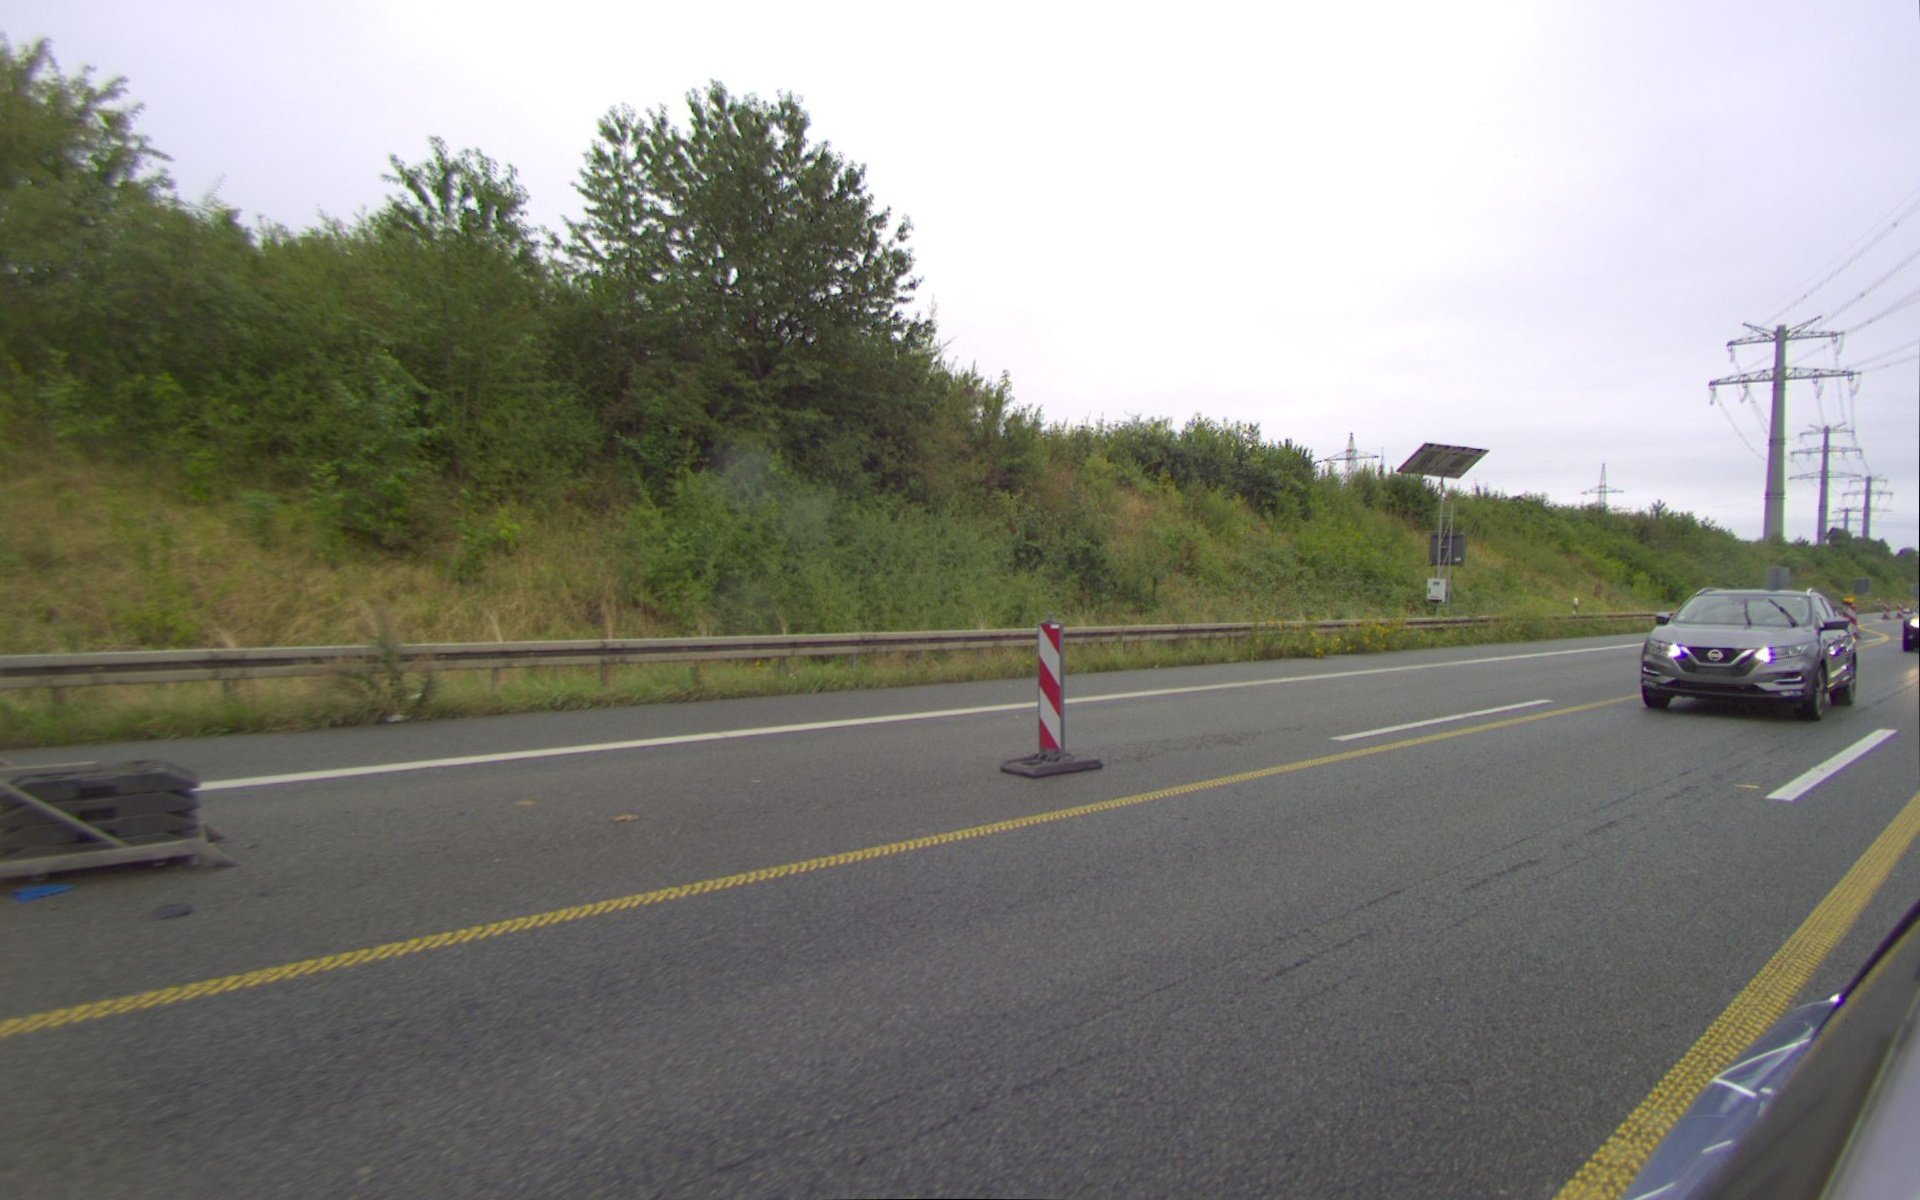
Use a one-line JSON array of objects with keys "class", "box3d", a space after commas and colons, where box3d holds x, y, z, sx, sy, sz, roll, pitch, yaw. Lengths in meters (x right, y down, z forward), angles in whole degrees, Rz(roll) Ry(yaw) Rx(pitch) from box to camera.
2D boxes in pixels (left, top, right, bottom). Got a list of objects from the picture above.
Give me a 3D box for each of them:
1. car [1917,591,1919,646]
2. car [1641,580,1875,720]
[{"class": "car", "box3d": [27.604, 0.490, 27.667, 4.079, 1.458, 1.802, 0, 1, -43]}, {"class": "car", "box3d": [10.603, 0.532, 13.337, 4.079, 1.552, 1.802, 0, 1, -43]}]
